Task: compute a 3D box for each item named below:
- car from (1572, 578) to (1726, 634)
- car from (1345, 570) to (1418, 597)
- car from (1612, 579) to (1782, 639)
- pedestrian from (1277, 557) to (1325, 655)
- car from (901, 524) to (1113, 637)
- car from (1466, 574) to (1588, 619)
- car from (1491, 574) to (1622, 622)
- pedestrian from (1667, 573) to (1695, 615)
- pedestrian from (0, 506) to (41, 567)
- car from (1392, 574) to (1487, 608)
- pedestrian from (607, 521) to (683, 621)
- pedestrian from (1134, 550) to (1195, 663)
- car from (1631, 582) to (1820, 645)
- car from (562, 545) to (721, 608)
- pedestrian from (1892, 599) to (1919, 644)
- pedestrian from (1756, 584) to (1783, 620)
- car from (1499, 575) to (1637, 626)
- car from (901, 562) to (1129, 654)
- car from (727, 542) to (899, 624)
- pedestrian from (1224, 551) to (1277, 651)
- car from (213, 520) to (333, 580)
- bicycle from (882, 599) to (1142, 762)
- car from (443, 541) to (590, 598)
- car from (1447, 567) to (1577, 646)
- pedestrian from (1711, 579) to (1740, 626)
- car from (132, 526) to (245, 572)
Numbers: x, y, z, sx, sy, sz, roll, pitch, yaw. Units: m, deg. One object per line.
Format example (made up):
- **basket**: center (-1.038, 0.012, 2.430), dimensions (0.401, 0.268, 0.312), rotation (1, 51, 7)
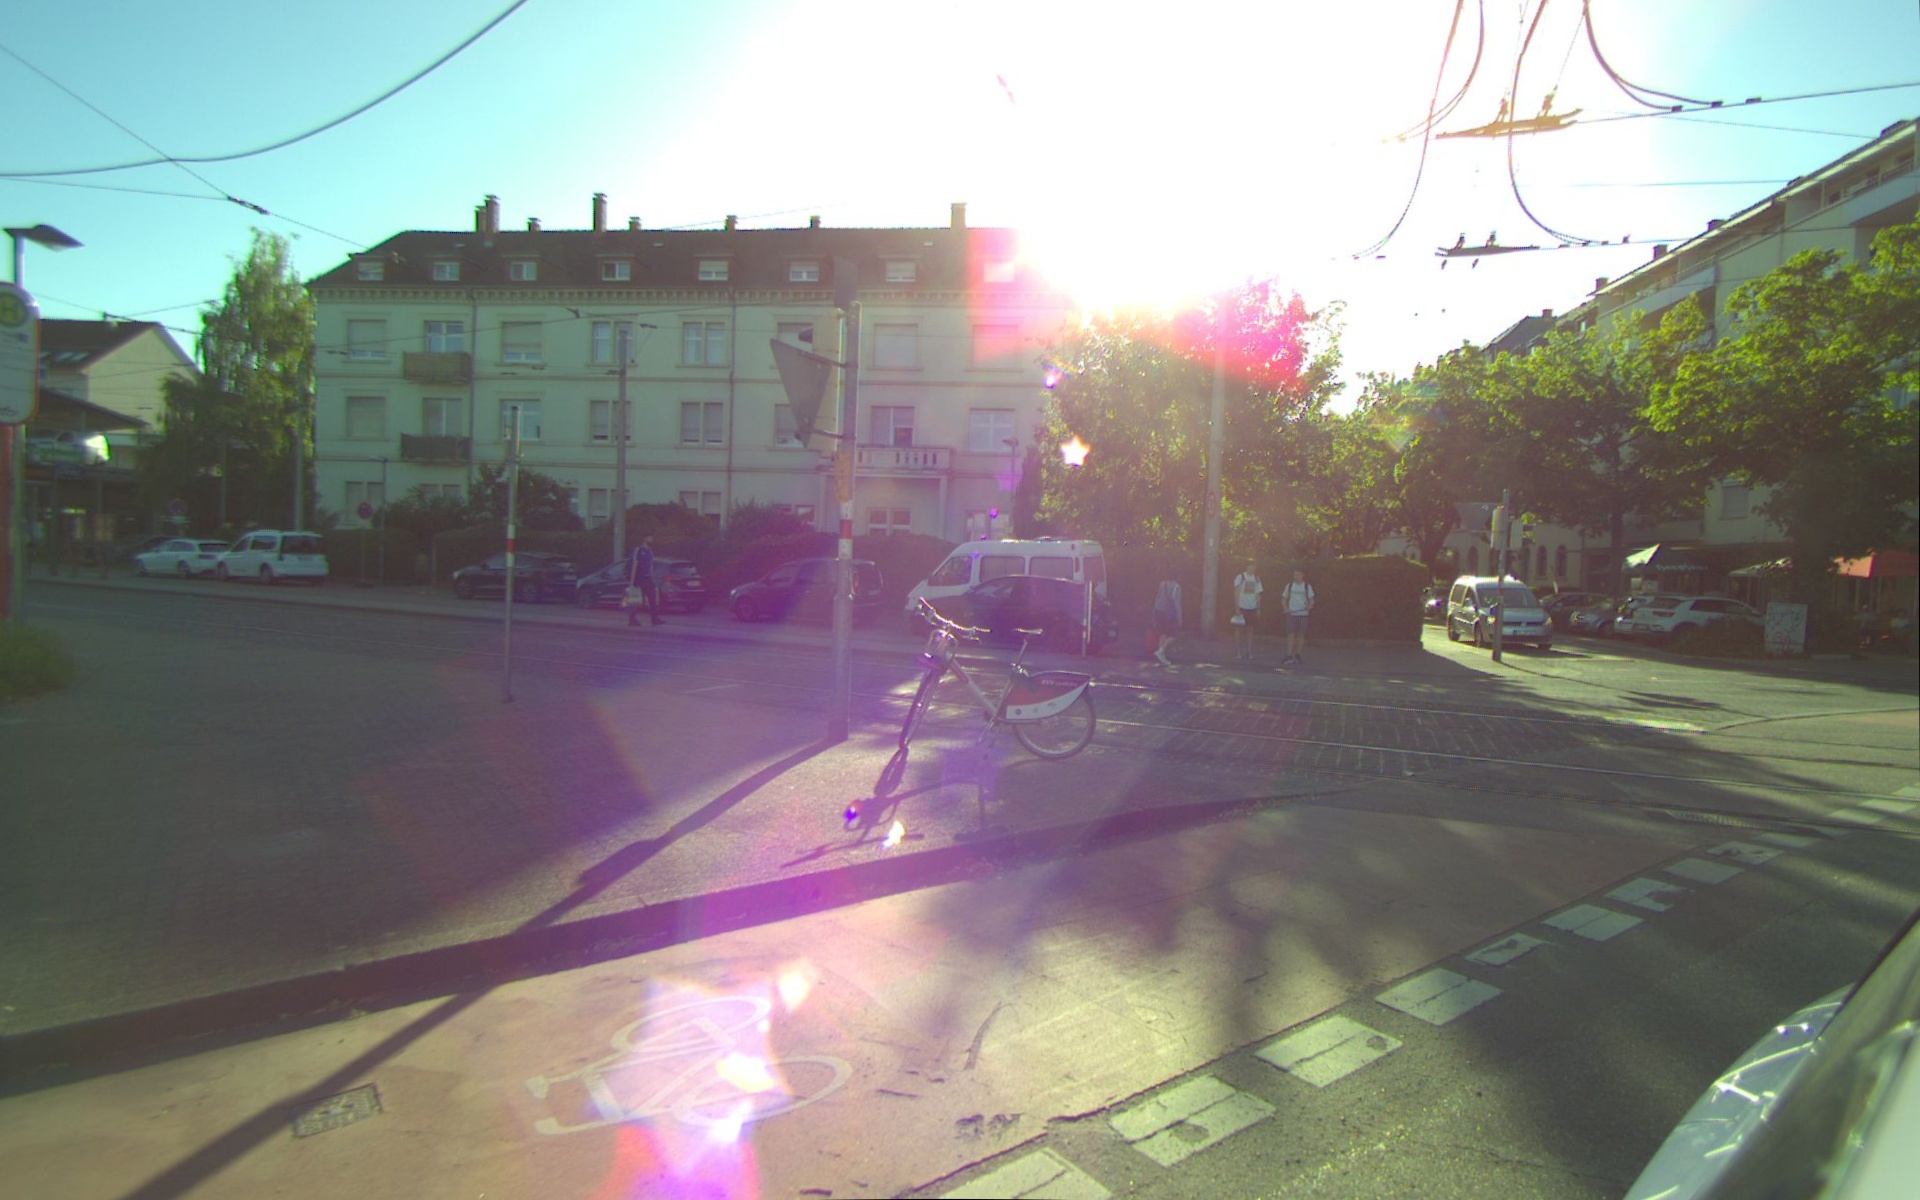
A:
- **car**: center (22.808, 0.180, 33.628), dimensions (3.802, 1.637, 1.715), rotation (2, 3, 4)
- **car**: center (26.231, -1.033, 63.099), dimensions (3.802, 1.498, 1.715), rotation (2, 3, 4)
- **car**: center (22.830, 0.258, 31.463), dimensions (3.835, 1.637, 1.715), rotation (2, 3, 4)
- **pedestrian**: center (6.486, 0.101, 19.284), dimensions (0.606, 1.814, 0.701), rotation (1, 3, 1)
- **car**: center (1.040, -0.475, 22.444), dimensions (4.263, 2.305, 2.078), rotation (1, 2, 26)
- **car**: center (22.686, -0.170, 40.598), dimensions (3.802, 1.637, 1.715), rotation (2, 3, 4)
- **car**: center (22.438, -0.097, 38.193), dimensions (3.802, 1.637, 1.715), rotation (2, 3, 4)
- **pedestrian**: center (30.318, -0.270, 42.561), dimensions (0.711, 1.729, 0.537), rotation (2, 2, 12)
- **pedestrian**: center (-28.206, -1.901, 30.329), dimensions (0.986, 1.814, 0.674), rotation (2, 3, 28)
- **car**: center (23.656, -0.460, 49.986), dimensions (3.802, 1.498, 1.715), rotation (2, 3, 4)
- **pedestrian**: center (-5.932, -0.559, 19.087), dimensions (0.986, 1.814, 0.953), rotation (2, 3, 27)
- **pedestrian**: center (3.206, 0.086, 15.900), dimensions (0.686, 1.713, 0.729), rotation (1, 3, -8)
- **car**: center (21.948, 0.356, 29.144), dimensions (3.963, 1.600, 1.709), rotation (2, 3, 4)
- **car**: center (-8.564, -0.681, 27.198), dimensions (3.897, 1.494, 1.793), rotation (3, 3, 24)
- **pedestrian**: center (27.246, 0.618, 28.819), dimensions (0.649, 1.233, 0.739), rotation (2, 3, 6)
- **pedestrian**: center (31.839, 0.082, 39.802), dimensions (0.564, 1.376, 0.670), rotation (2, 3, 19)
- **car**: center (21.848, -0.010, 36.497), dimensions (3.802, 1.637, 1.715), rotation (2, 3, 4)
- **car**: center (1.025, 0.078, 19.104), dimensions (3.903, 1.458, 1.790), rotation (3, 4, 28)
- **car**: center (-3.608, -0.473, 24.834), dimensions (3.850, 1.784, 1.792), rotation (3, 3, 25)
- **pedestrian**: center (5.625, -0.004, 19.588), dimensions (0.698, 1.868, 0.694), rotation (4, 4, 41)
- **car**: center (-23.844, -1.757, 35.119), dimensions (3.901, 1.950, 1.791), rotation (3, 3, 26)
- **bicycle**: center (0.388, 0.573, 7.697), dimensions (1.849, 1.072, 0.827), rotation (2, 3, 4)
- **car**: center (-12.891, -0.924, 29.440), dimensions (3.897, 1.494, 1.793), rotation (3, 3, 24)
- **car**: center (14.697, 0.094, 27.201), dimensions (1.777, 1.835, 4.180), rotation (-1, 3, 10)
- **pedestrian**: center (30.429, 0.096, 40.221), dimensions (0.663, 1.833, 0.537), rotation (2, 2, 12)
- **car**: center (-28.551, -1.910, 37.443), dimensions (3.901, 1.559, 1.791), rotation (3, 3, 26)
